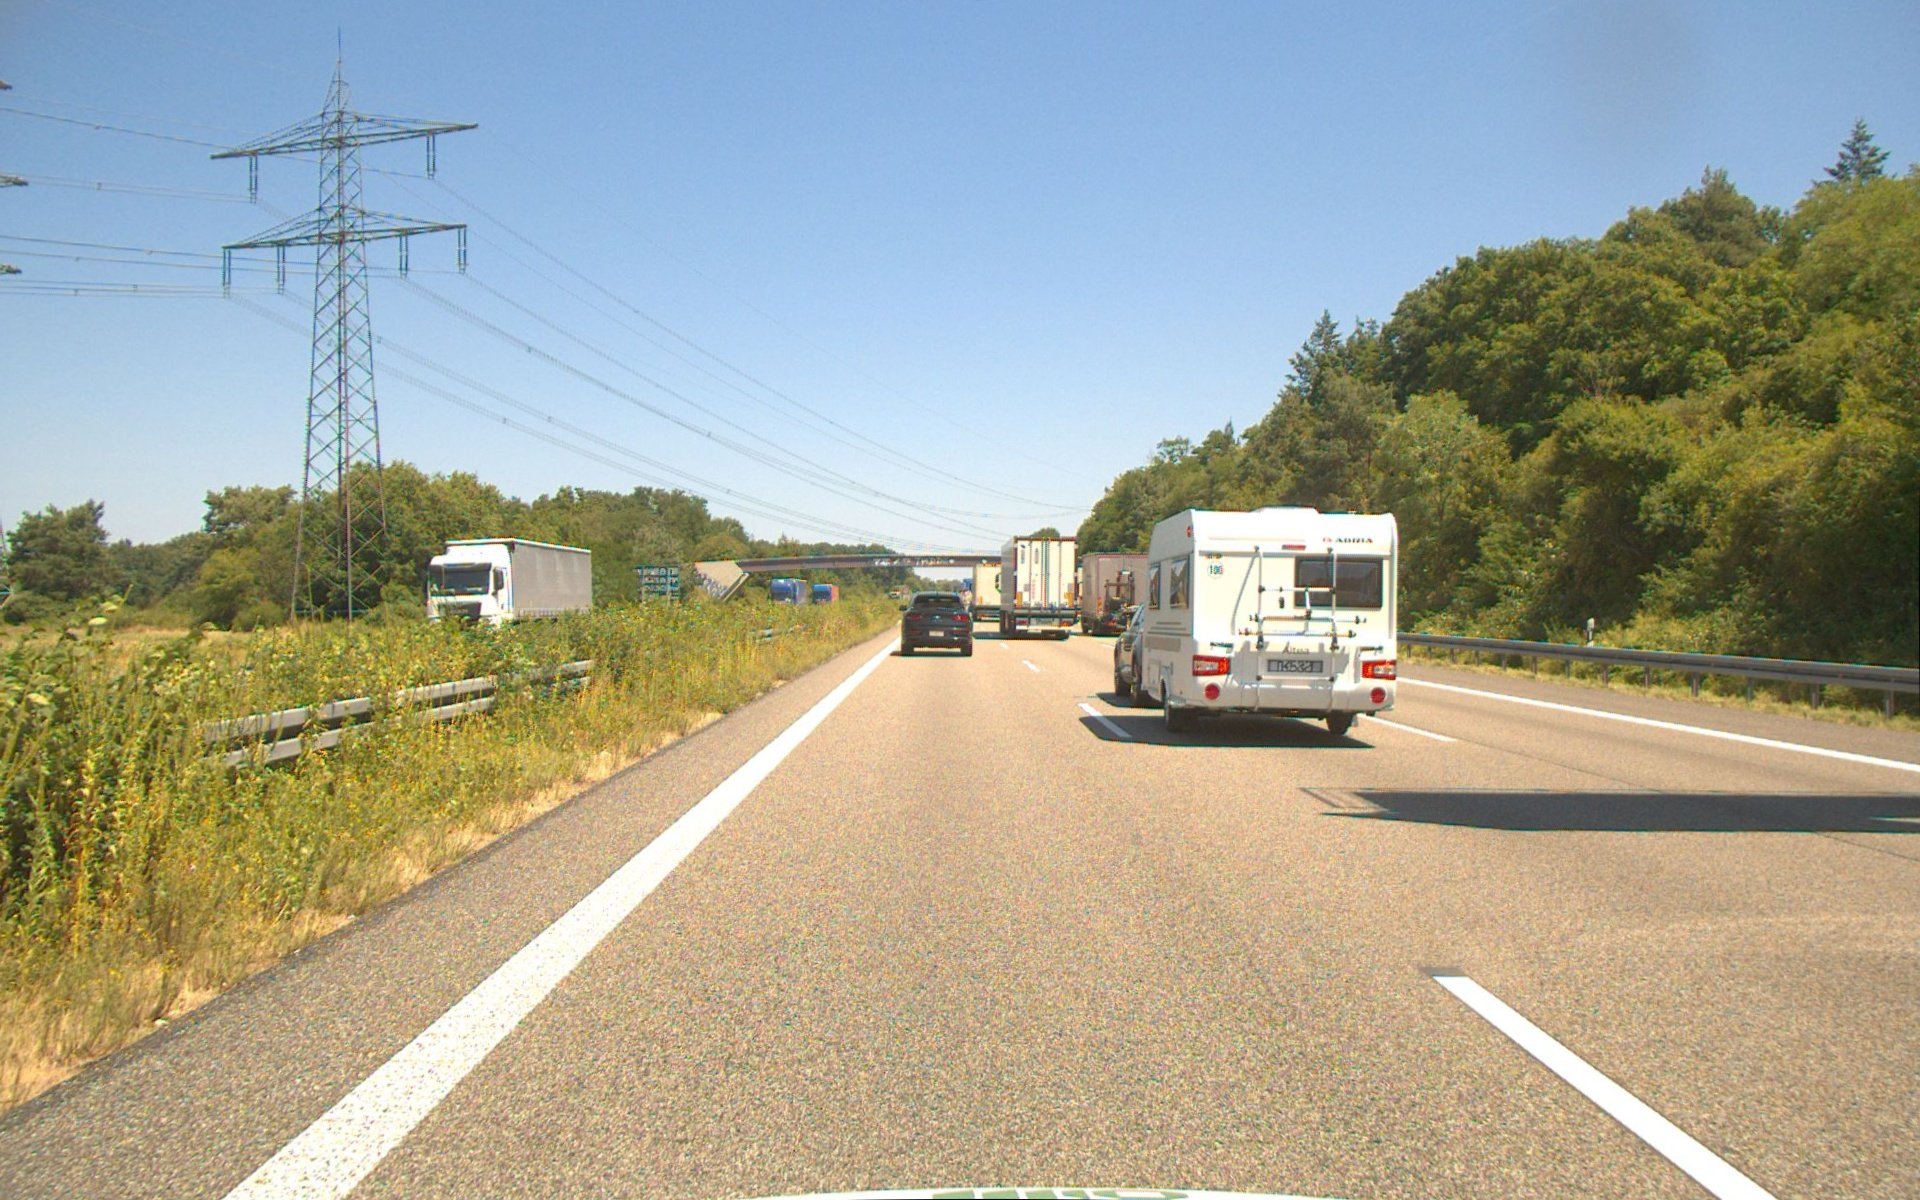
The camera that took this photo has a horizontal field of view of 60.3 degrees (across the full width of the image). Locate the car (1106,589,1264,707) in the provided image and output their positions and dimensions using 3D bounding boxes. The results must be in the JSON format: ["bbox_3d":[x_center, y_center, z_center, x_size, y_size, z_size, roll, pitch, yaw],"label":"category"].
[{"bbox_3d":[3.428,0.684,26.029,1.840,1.640,4.702,2,0,0],"label":"car"}]

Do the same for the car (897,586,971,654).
[{"bbox_3d":[-0.741,0.527,45.926,1.953,1.803,3.999,0,0,-2],"label":"car"}]

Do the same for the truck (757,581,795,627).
[{"bbox_3d":[-18.836,0.378,169.848,3.025,4.484,6.800,-3,0,-1],"label":"truck"}]

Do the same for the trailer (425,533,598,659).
[{"bbox_3d":[-18.060,-0.157,67.987,3.300,4.485,14.316,-3,0,-1],"label":"trailer"}]

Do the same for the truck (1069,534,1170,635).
[{"bbox_3d":[7.358,-0.638,78.150,3.498,4.319,11.650,1,0,-1],"label":"truck"}]

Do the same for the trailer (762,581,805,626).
[{"bbox_3d":[-18.892,0.347,178.303,3.025,4.484,14.229,-3,0,-1],"label":"trailer"}]

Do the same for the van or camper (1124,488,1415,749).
[{"bbox_3d":[3.557,0.177,20.501,2.389,2.721,6.349,0,0,0],"label":"van or camper"}]

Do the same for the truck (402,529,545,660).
[{"bbox_3d":[-17.934,-0.190,61.491,3.300,4.485,6.555,-2,0,-1],"label":"truck"}]

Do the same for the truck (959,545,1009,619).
[{"bbox_3d":[1.747,-1.306,123.535,3.440,5.257,10.257,1,0,-1],"label":"truck"}]

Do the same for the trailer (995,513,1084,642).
[{"bbox_3d":[3.259,-0.861,70.906,3.024,4.970,12.256,1,0,-1],"label":"trailer"}]

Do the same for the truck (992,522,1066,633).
[{"bbox_3d":[3.186,-0.999,77.860,3.024,4.970,6.596,1,0,-1],"label":"truck"}]
